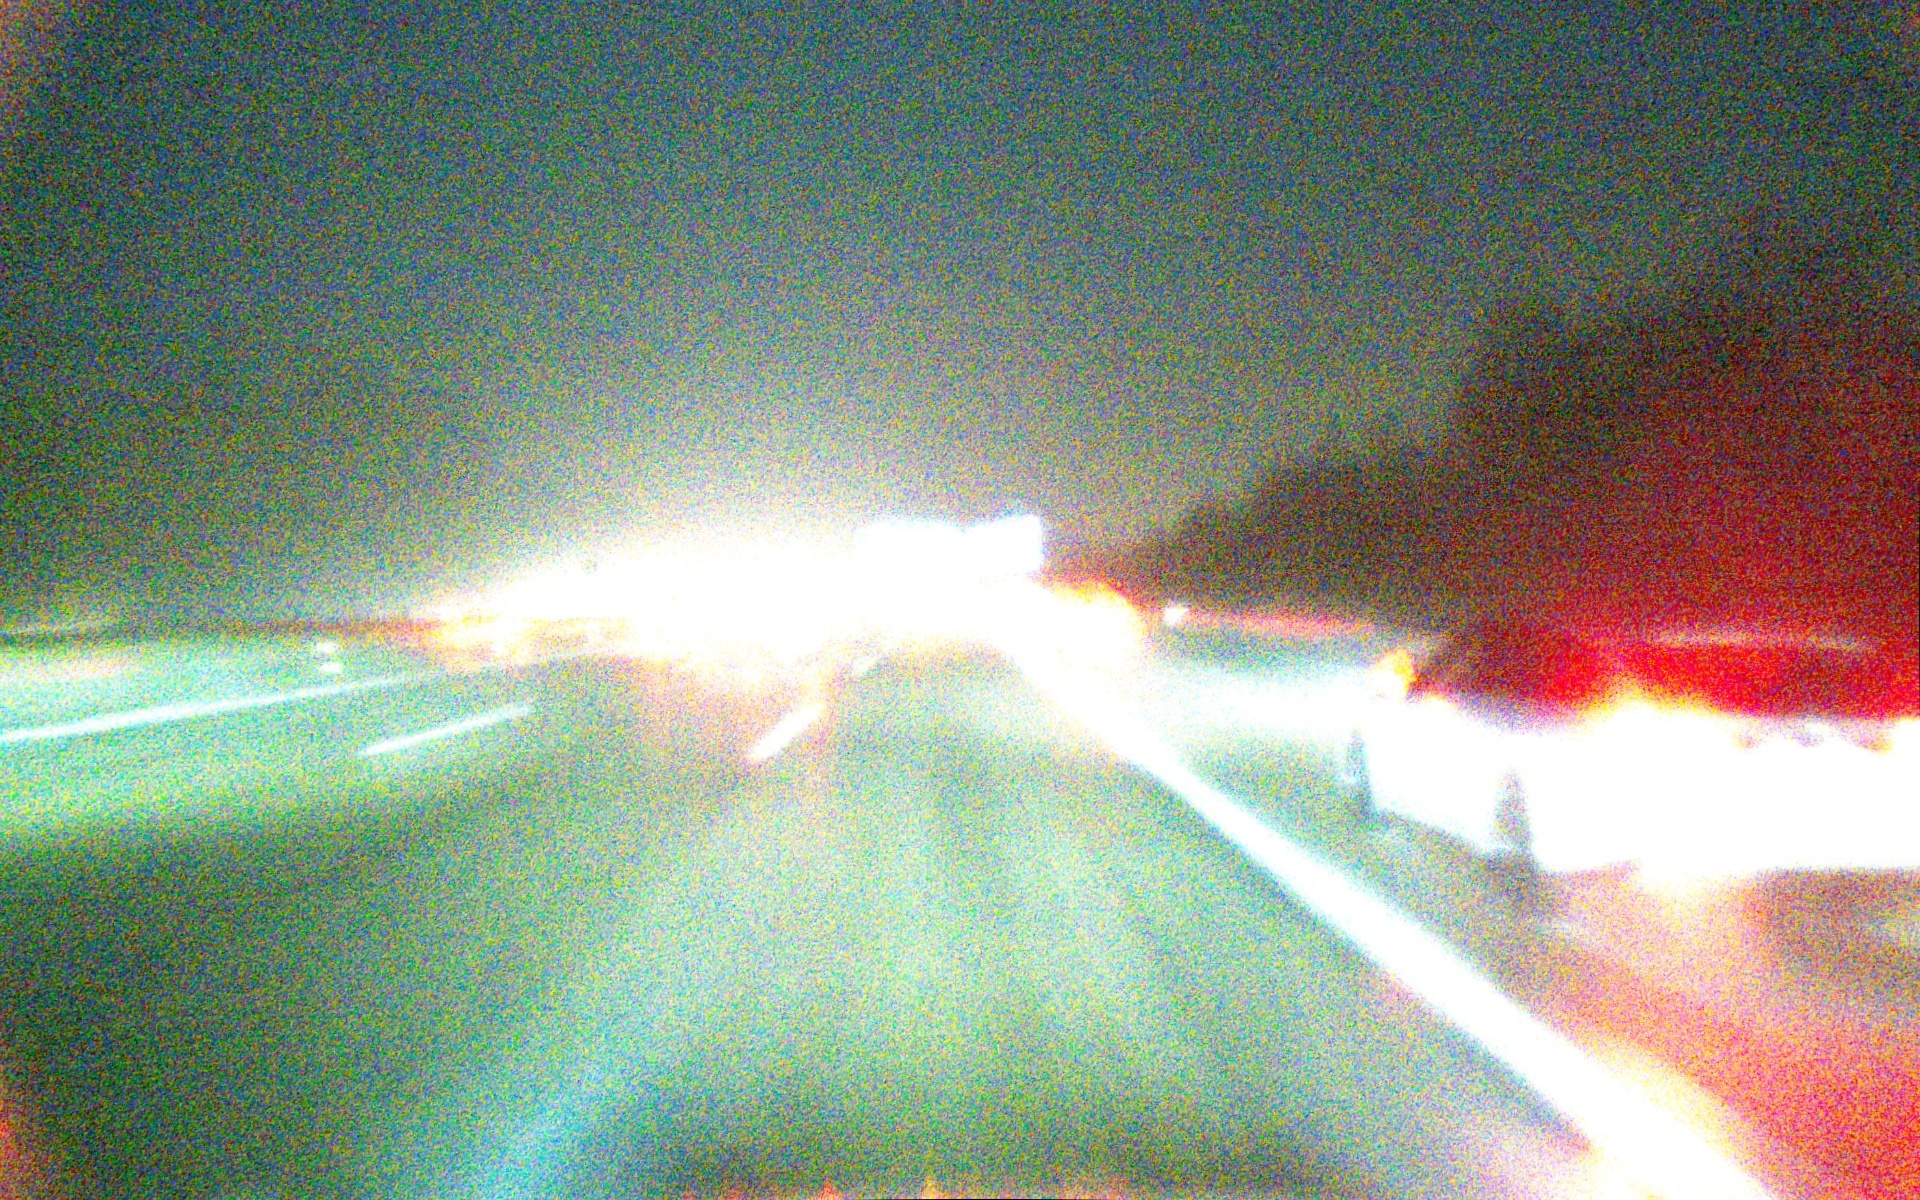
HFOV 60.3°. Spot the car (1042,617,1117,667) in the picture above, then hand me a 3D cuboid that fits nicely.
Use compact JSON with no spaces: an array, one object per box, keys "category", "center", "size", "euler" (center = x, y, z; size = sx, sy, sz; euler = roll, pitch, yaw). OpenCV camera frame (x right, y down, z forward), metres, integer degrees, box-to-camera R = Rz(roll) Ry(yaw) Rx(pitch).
[{"category":"car","center":[3.147,1.092,44.095],"size":[1.550,1.268,3.066],"euler":[1,-1,-4]}]

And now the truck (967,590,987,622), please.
[{"category":"truck","center":[1.758,0.673,171.392],"size":[1.952,3.096,6.465],"euler":[-2,-1,1]}]

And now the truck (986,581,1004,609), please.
[{"category":"truck","center":[4.025,-0.562,193.727],"size":[1.952,3.096,6.465],"euler":[-2,-1,1]}]

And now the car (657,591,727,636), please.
[{"category":"car","center":[-8.128,0.427,50.449],"size":[1.629,1.258,3.759],"euler":[-2,-1,-2]}]

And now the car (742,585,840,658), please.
[{"category":"car","center":[-3.650,0.431,36.348],"size":[1.765,1.513,4.000],"euler":[1,0,-1]}]

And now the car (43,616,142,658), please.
[{"category":"car","center":[-40.110,1.702,76.610],"size":[1.952,1.802,4.572],"euler":[1,0,4]}]

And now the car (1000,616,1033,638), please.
[{"category":"car","center":[3.238,1.549,95.225],"size":[1.550,1.268,3.066],"euler":[1,-1,-4]}]

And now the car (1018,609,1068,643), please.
[{"category":"car","center":[3.225,1.012,64.568],"size":[1.550,1.268,3.066],"euler":[1,-1,-4]}]

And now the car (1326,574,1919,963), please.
[{"category":"car","center":[3.599,0.662,9.125],"size":[2.016,1.545,5.015],"euler":[1,0,0]}]

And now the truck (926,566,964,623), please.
[{"category":"truck","center":[-0.849,-0.264,97.646],"size":[1.952,3.096,6.465],"euler":[-2,-1,1]}]
